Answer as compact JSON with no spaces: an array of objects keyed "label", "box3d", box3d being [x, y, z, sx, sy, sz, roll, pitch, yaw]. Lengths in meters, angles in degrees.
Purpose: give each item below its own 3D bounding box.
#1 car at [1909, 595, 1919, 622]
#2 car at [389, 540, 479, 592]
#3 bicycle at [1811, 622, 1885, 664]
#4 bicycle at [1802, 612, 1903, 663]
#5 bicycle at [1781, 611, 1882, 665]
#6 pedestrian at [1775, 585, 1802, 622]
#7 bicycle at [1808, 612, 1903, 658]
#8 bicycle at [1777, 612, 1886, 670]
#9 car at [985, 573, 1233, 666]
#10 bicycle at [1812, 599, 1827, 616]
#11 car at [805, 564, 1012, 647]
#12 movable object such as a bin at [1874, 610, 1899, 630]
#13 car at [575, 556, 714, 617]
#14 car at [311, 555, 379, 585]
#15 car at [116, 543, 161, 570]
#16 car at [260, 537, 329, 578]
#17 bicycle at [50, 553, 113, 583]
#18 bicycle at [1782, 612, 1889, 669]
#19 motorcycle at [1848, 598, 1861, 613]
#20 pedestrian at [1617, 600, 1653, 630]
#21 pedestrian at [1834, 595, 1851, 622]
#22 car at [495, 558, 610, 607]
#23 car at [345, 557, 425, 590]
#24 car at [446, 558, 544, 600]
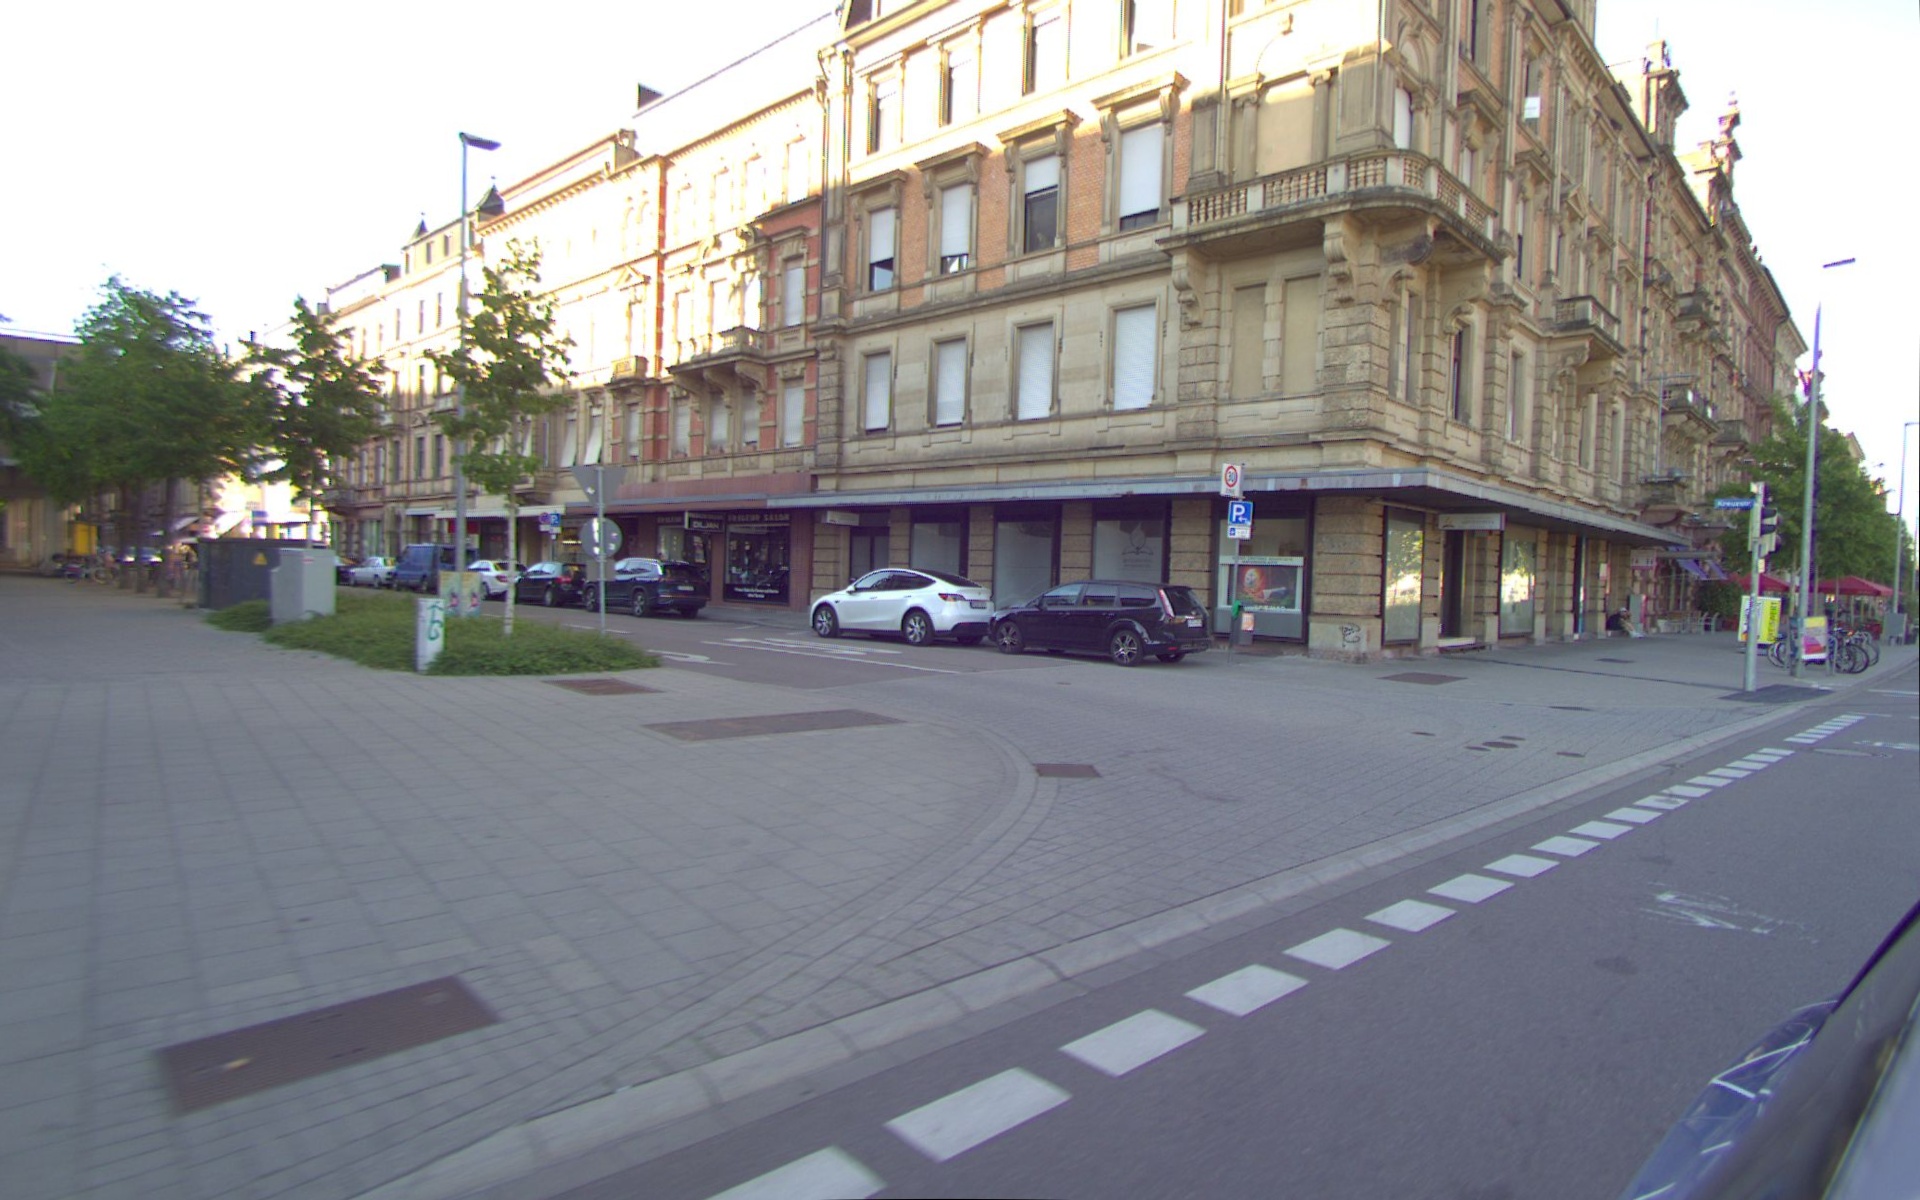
[{"label":"car","box3d":[60.640,0.572,63.164,4.226,1.583,1.851,0,3,-45]},{"label":"car","box3d":[-20.859,-1.370,40.076,4.037,1.952,1.836,2,2,41]},{"label":"bicycle","box3d":[22.270,1.069,25.397,0.498,0.887,1.278,1,4,-38]},{"label":"bicycle","box3d":[23.397,0.959,26.572,0.556,1.118,1.850,1,4,-38]},{"label":"bicycle","box3d":[21.120,0.893,24.551,0.498,1.117,1.727,1,4,-38]},{"label":"pedestrian","box3d":[35.554,0.149,43.412,0.784,1.552,0.729,0,3,-45]},{"label":"bicycle","box3d":[24.430,0.937,27.643,0.556,1.060,1.810,1,4,-38]},{"label":"bicycle","box3d":[19.906,0.922,23.152,0.498,1.117,1.759,1,4,-38]},{"label":"car","box3d":[2.669,0.272,18.744,4.258,1.468,1.836,2,2,41]},{"label":"bicycle","box3d":[65.606,0.580,77.226,0.705,1.235,2.039,2,1,44]},{"label":"car","box3d":[-1.211,0.044,22.158,4.536,1.615,1.836,2,2,41]},{"label":"movable object such as a bin","box3d":[45.608,0.970,49.808,0.549,0.935,0.679,1,4,-24]},{"label":"car","box3d":[-9.240,-0.436,29.503,4.436,1.644,1.849,2,2,41]},{"label":"car","box3d":[-28.651,-1.407,47.091,3.917,1.347,1.638,2,2,41]},{"label":"car","box3d":[-50.918,-2.687,62.692,3.365,1.630,1.634,2,2,41]},{"label":"car","box3d":[-34.451,-2.182,52.333,4.028,2.004,2.029,2,2,42]},{"label":"bicycle","box3d":[-32.298,-1.183,37.217,1.888,1.056,0.585,2,1,4]},{"label":"bicycle","box3d":[20.336,0.912,23.543,0.498,1.117,1.759,1,4,-38]},{"label":"motorcycle","box3d":[85.466,0.500,96.728,0.787,1.439,2.020,2,1,45]},{"label":"pedestrian","box3d":[22.546,0.497,33.818,0.790,0.974,0.815,1,2,-43]},{"label":"pedestrian","box3d":[61.482,0.577,70.495,1.054,1.776,0.748,0,2,-45]},{"label":"car","box3d":[-13.486,-0.602,33.377,4.189,1.500,1.836,2,2,41]},{"label":"car","box3d":[-24.926,-1.178,43.825,4.053,1.347,1.836,2,2,41]},{"label":"car","box3d":[-16.779,-0.774,36.448,3.855,1.409,1.836,2,2,41]}]
